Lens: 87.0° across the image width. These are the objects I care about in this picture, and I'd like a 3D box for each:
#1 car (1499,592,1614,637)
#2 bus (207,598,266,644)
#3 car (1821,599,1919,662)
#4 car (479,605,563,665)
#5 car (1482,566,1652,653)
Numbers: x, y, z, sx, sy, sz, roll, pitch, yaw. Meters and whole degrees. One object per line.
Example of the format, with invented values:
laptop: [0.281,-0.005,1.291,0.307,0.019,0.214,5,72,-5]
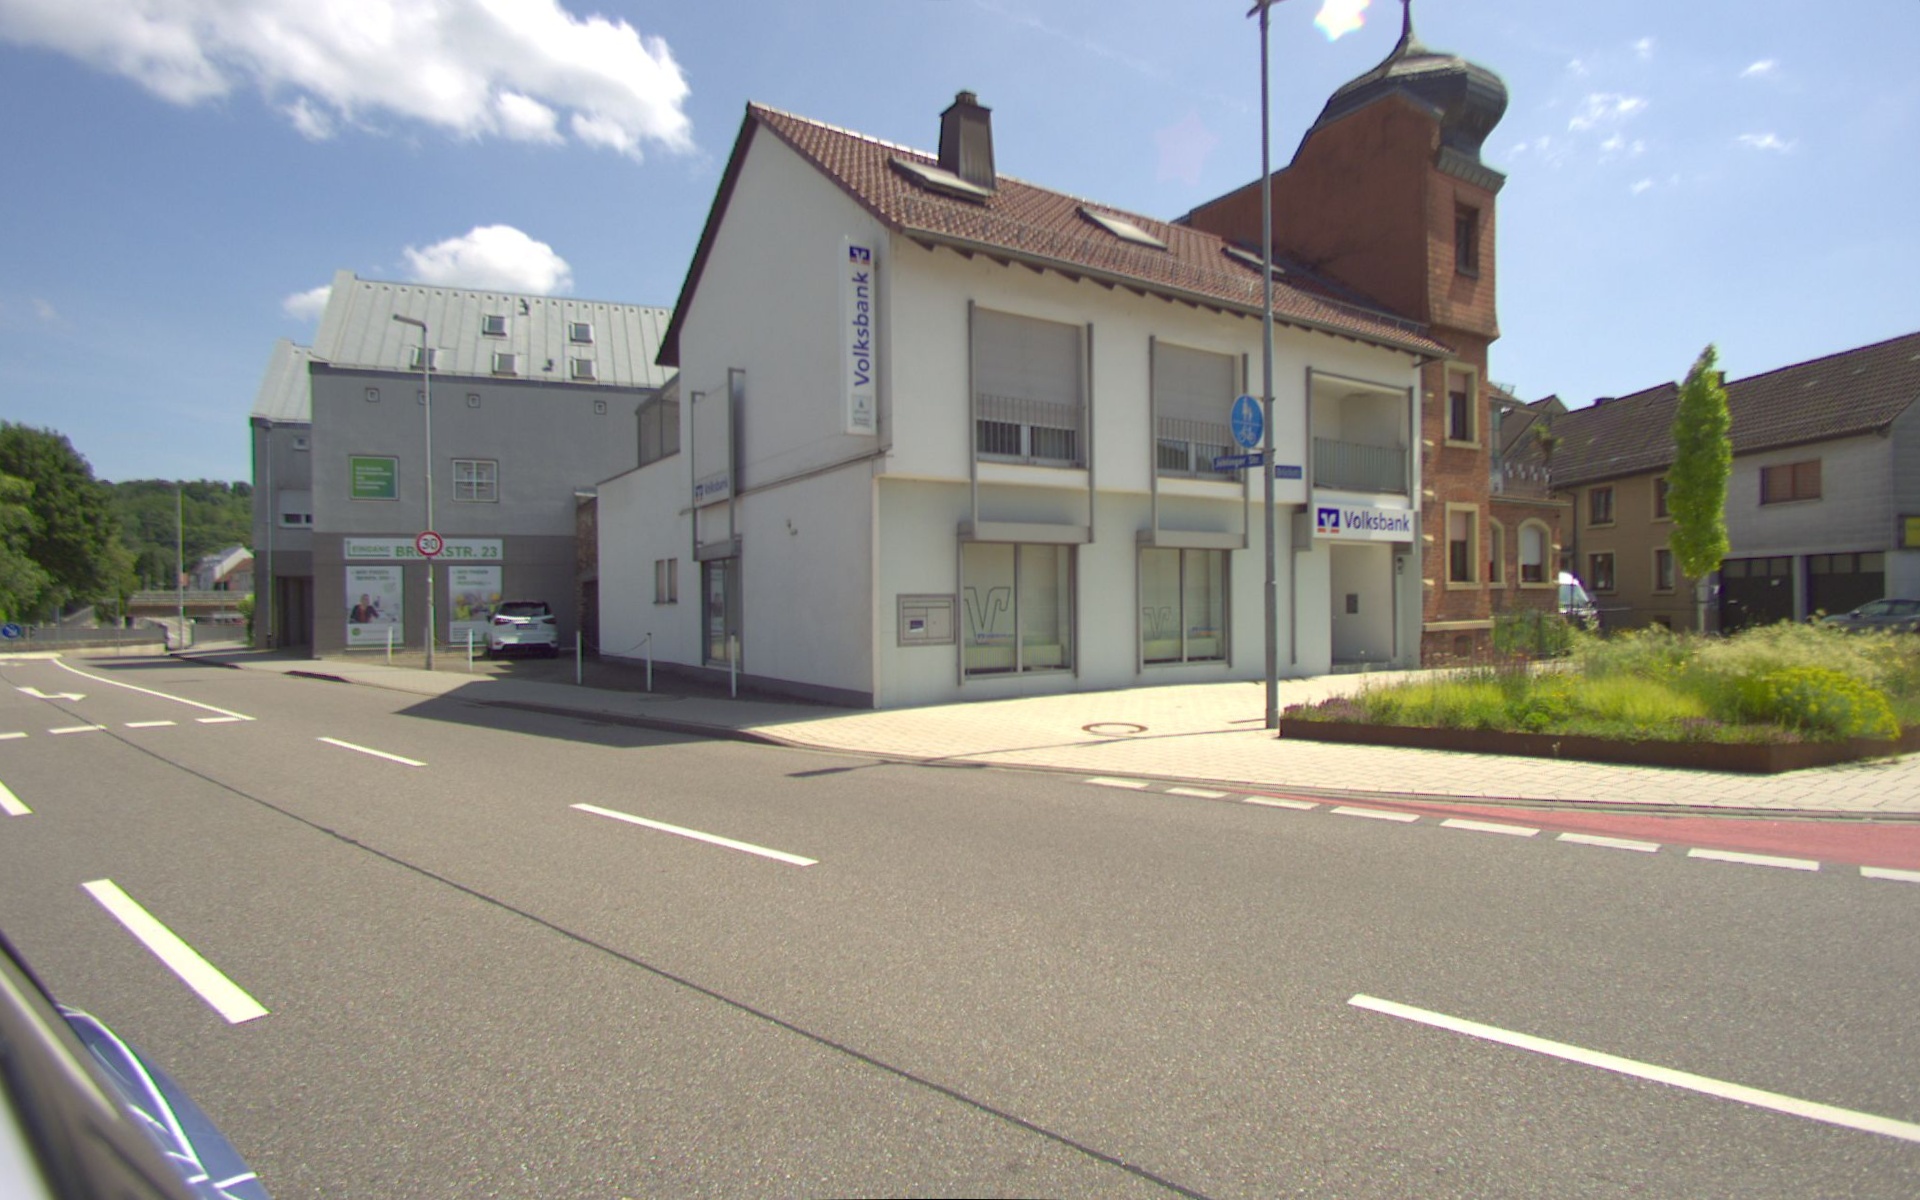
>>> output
car: [24.475,0.583,41.699,2.037,1.741,4.007,0,-1,-7]
bus: [-69.258,2.083,97.152,2.771,4.032,11.001,-1,-2,-26]
car: [24.354,0.754,25.391,1.762,1.559,4.235,0,-1,-2]
car: [-12.641,0.968,28.998,1.965,1.587,4.266,0,-1,-27]
car: [17.915,0.286,30.227,2.144,2.363,5.108,0,-1,2]
